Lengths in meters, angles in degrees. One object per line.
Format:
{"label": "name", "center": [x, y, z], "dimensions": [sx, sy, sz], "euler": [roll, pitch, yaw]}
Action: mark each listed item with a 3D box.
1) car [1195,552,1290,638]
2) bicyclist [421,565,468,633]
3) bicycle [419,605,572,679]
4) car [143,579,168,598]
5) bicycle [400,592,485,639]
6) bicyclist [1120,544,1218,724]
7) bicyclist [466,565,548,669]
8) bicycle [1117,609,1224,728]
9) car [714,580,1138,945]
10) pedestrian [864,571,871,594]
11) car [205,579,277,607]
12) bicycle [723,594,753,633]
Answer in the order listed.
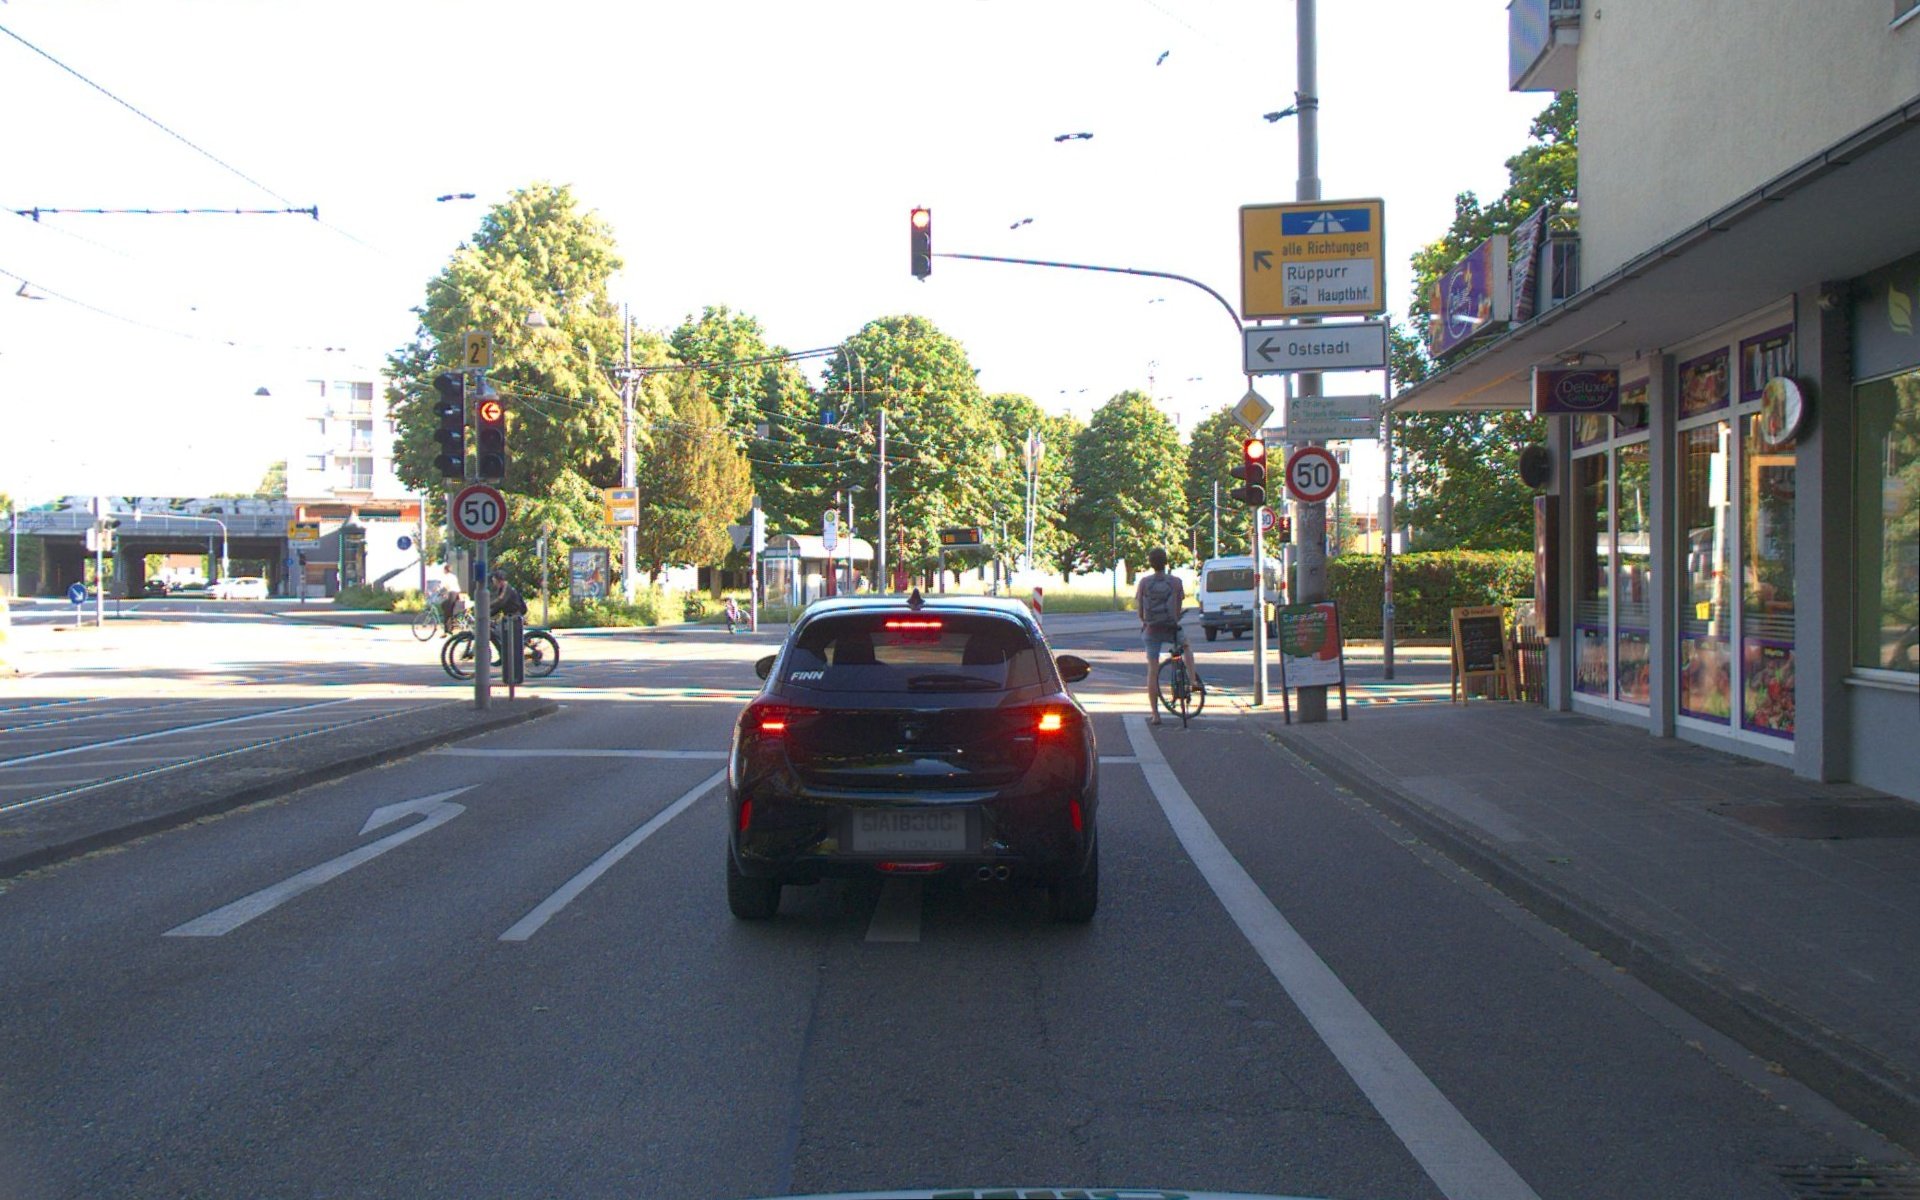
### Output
{"label": "car", "center": [8.017, -0.160, 46.586], "dimensions": [2.020, 2.288, 4.890], "euler": [0, 1, 17]}
{"label": "bicyclist", "center": [-12.406, -0.033, 39.811], "dimensions": [0.843, 1.623, 0.649], "euler": [0, 0, 21]}
{"label": "bicycle", "center": [-7.083, 0.626, 25.237], "dimensions": [2.162, 1.051, 0.828], "euler": [-1, 0, -24]}
{"label": "car", "center": [-80.053, -1.103, 164.534], "dimensions": [2.186, 1.855, 4.112], "euler": [-1, 1, -26]}
{"label": "bicycle", "center": [-12.470, 0.371, 39.828], "dimensions": [2.012, 1.113, 0.592], "euler": [0, 0, 21]}
{"label": "bicyclist", "center": [2.254, 0.354, 17.924], "dimensions": [0.922, 1.883, 0.864], "euler": [-1, 0, -1]}
{"label": "bicyclist", "center": [-6.926, 0.243, 25.281], "dimensions": [1.098, 1.547, 0.915], "euler": [-1, 0, -24]}
{"label": "bicycle", "center": [2.262, 0.706, 18.026], "dimensions": [0.842, 1.173, 2.171], "euler": [-1, 1, -1]}
{"label": "car", "center": [-0.156, 0.641, 8.745], "dimensions": [1.692, 1.454, 4.186], "euler": [1, 0, -1]}
{"label": "pedestrian", "center": [-5.943, -1.117, 106.393], "dimensions": [0.404, 1.437, 0.436], "euler": [2, 0, -3]}
{"label": "car", "center": [-48.734, -0.465, 112.129], "dimensions": [1.703, 1.836, 4.170], "euler": [0, 1, 38]}
{"label": "bicycle", "center": [-6.212, 0.380, 46.382], "dimensions": [0.593, 1.049, 1.982], "euler": [0, 1, -1]}
